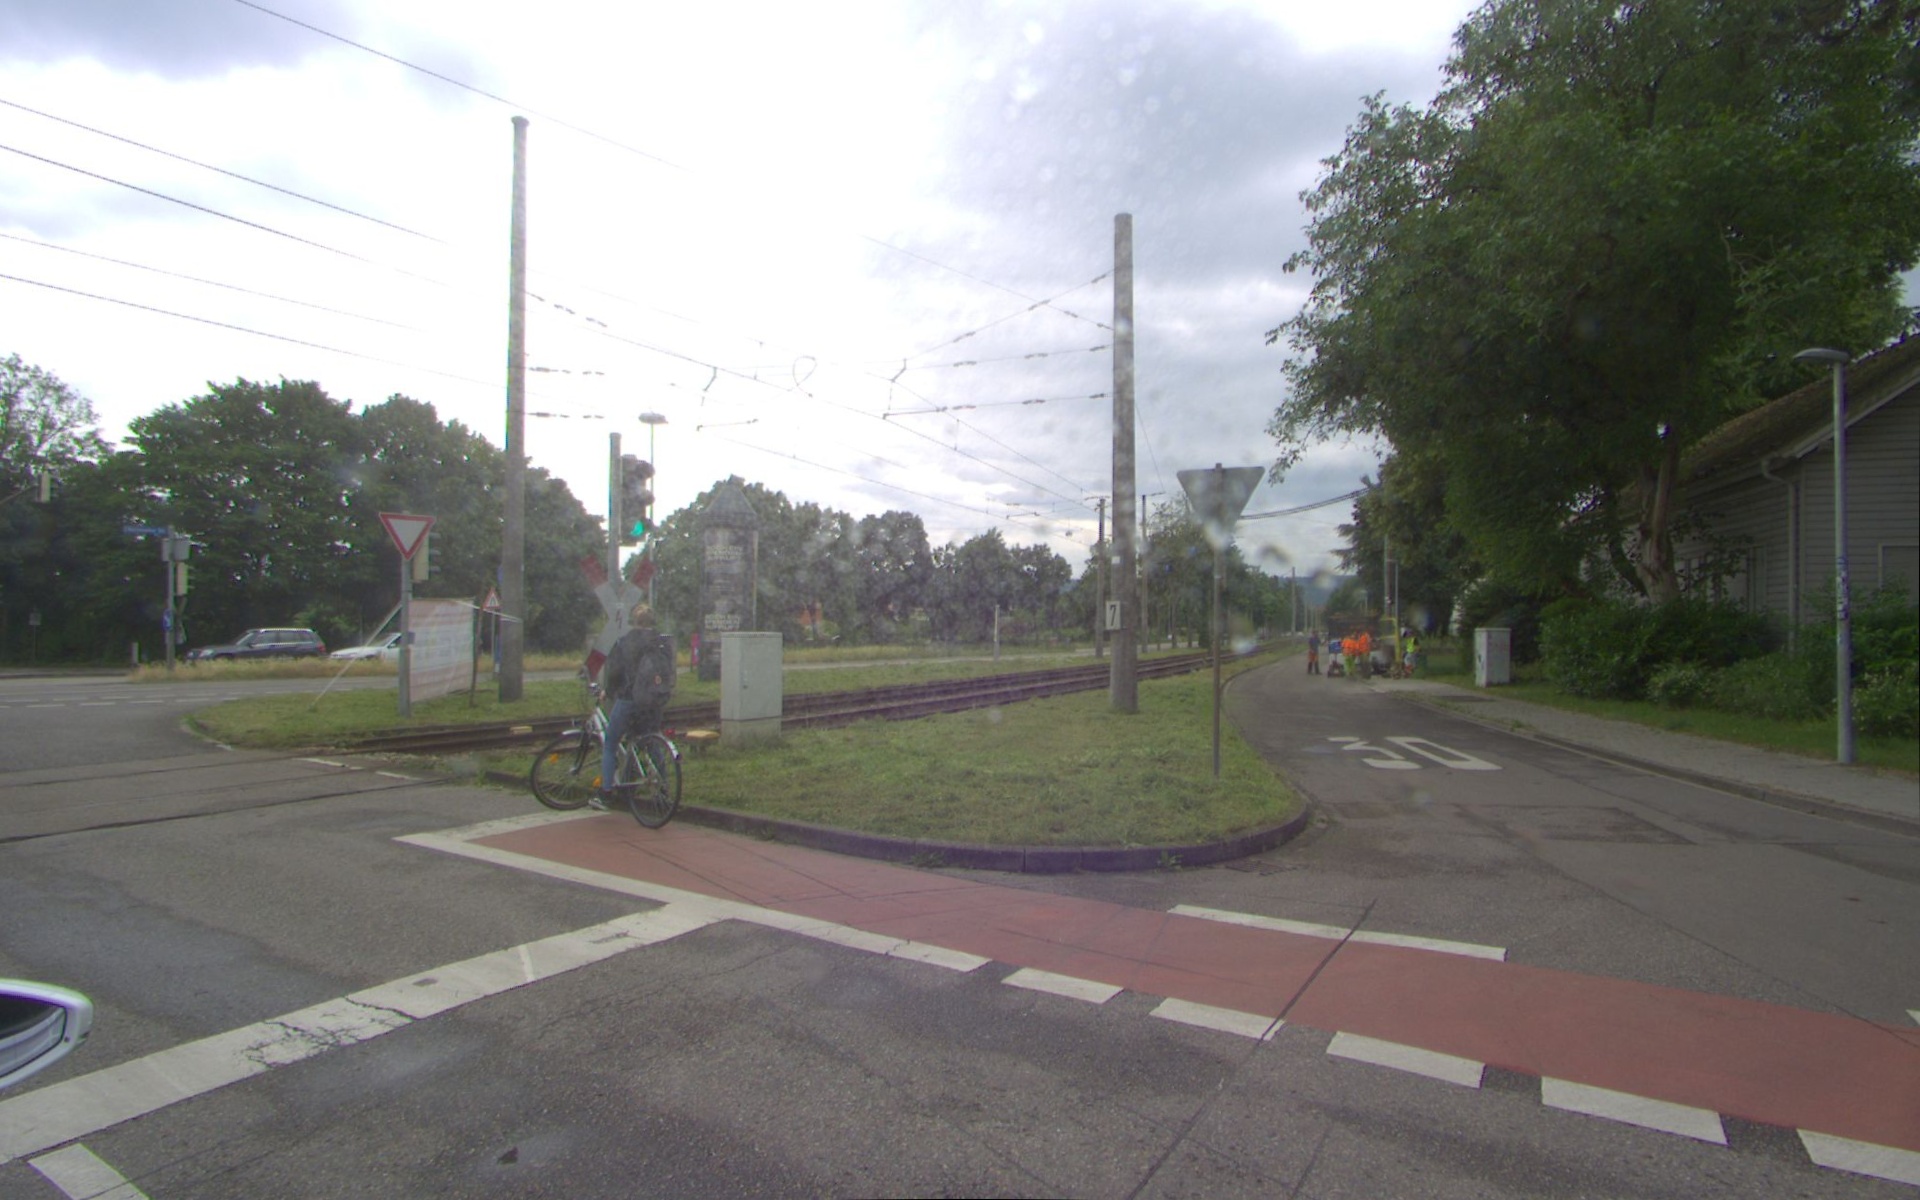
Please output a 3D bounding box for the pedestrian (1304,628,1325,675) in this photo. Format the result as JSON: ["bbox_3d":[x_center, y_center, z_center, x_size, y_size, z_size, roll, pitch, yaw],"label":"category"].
[{"bbox_3d":[14.284,2.066,40.394,0.757,1.892,0.604,0,-1,17],"label":"pedestrian"}]

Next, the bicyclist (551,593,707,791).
[{"bbox_3d":[-2.584,0.706,7.838,0.947,1.441,0.621,-1,-5,32],"label":"bicyclist"}]

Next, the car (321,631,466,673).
[{"bbox_3d":[-19.593,1.775,34.800,1.624,1.374,4.129,0,-2,33],"label":"car"}]

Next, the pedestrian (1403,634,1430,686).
[{"bbox_3d":[16.680,2.176,36.625,0.598,1.864,0.712,1,-1,-13],"label":"pedestrian"}]

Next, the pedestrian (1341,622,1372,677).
[{"bbox_3d":[13.815,1.701,34.857,0.862,1.878,0.676,1,-1,34],"label":"pedestrian"}]

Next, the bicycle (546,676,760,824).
[{"bbox_3d":[-2.421,1.113,7.772,2.001,0.993,0.382,-1,-2,32],"label":"bicycle"}]

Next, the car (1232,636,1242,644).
[{"bbox_3d":[58.410,8.435,211.243,1.964,1.829,3.997,-1,-2,16],"label":"car"}]

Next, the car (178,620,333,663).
[{"bbox_3d":[-26.517,1.551,37.849,1.820,1.523,4.457,0,-2,33],"label":"car"}]
